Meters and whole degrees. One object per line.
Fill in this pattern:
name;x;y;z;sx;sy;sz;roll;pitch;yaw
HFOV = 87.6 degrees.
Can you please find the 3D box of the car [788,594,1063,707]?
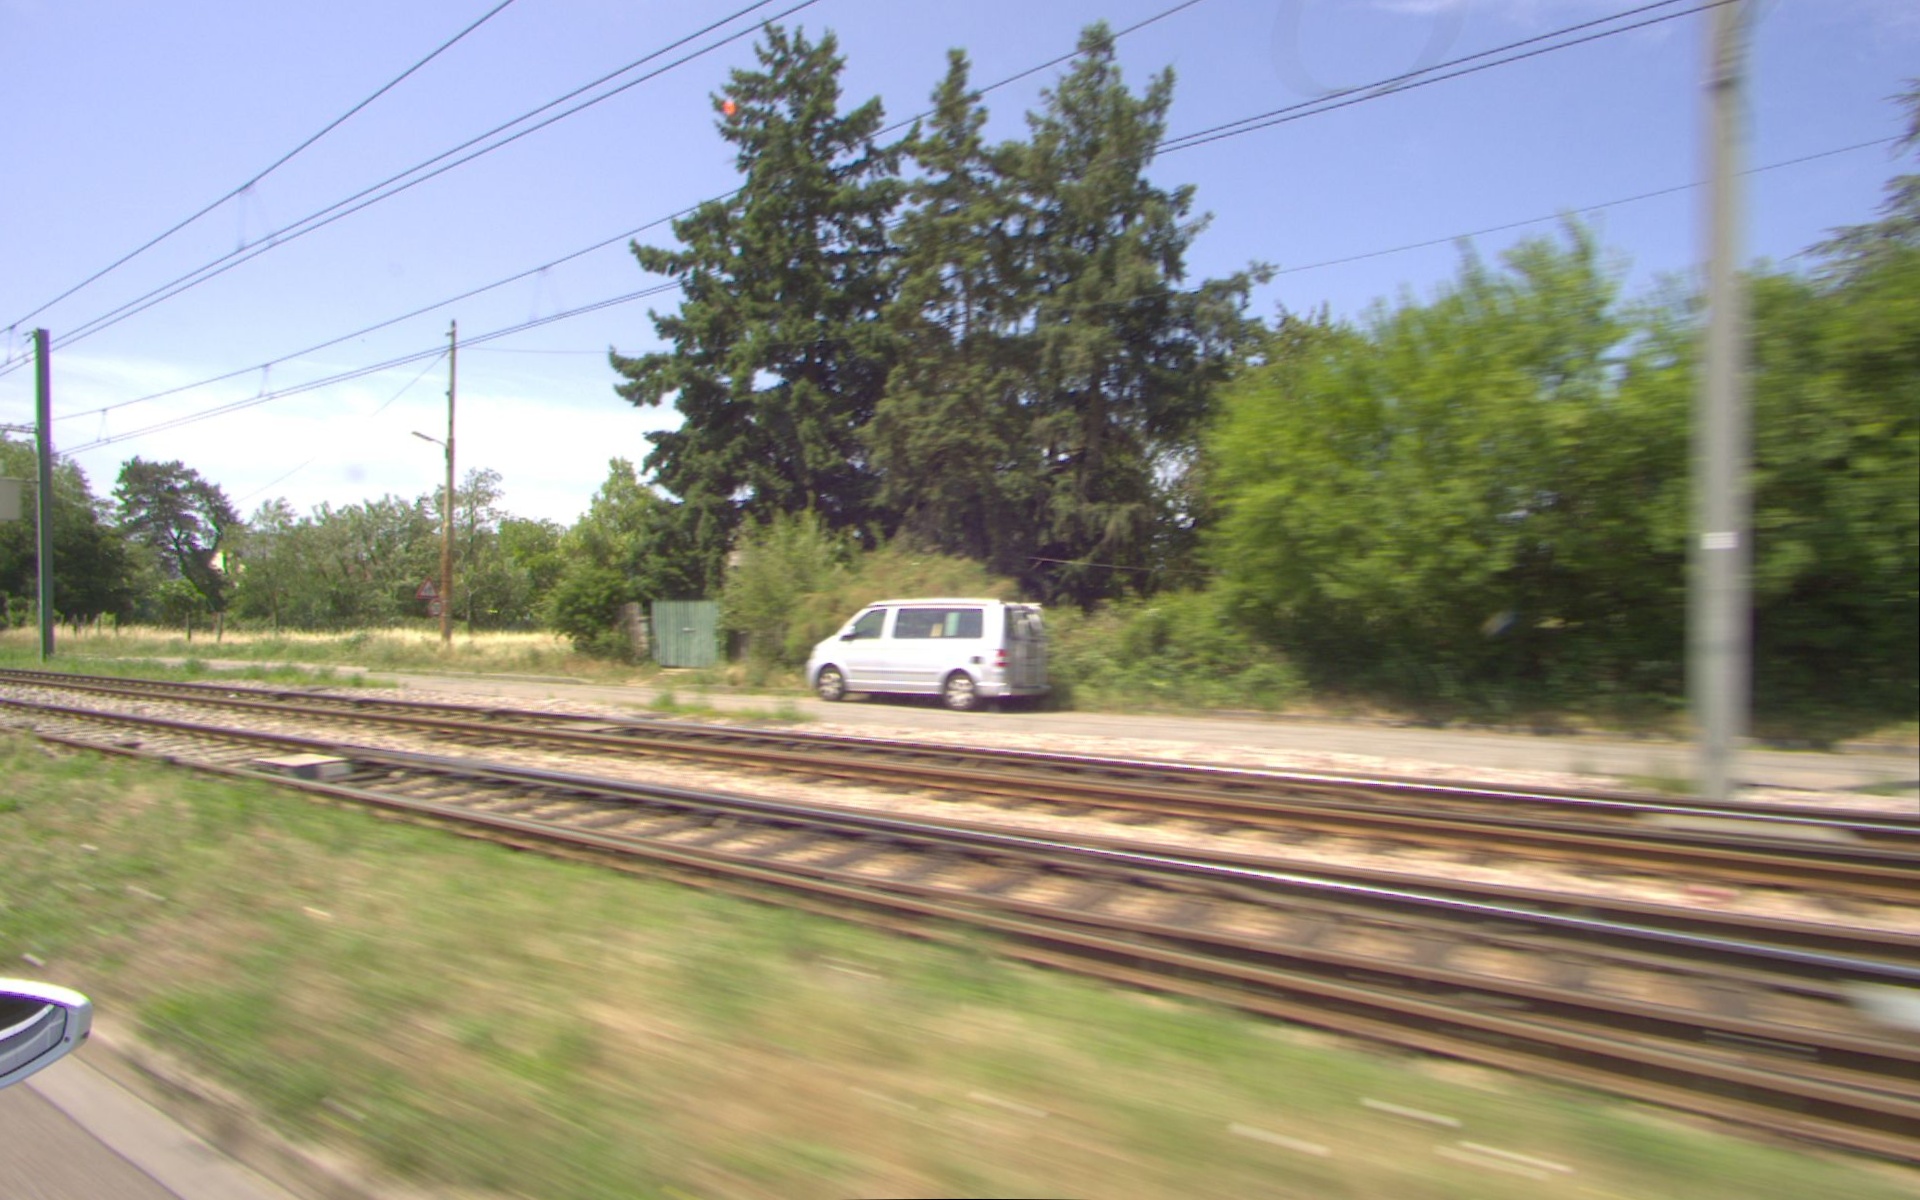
car;-0.725;0.925;19.156;4.997;1.906;2.032;-2;-1;32
